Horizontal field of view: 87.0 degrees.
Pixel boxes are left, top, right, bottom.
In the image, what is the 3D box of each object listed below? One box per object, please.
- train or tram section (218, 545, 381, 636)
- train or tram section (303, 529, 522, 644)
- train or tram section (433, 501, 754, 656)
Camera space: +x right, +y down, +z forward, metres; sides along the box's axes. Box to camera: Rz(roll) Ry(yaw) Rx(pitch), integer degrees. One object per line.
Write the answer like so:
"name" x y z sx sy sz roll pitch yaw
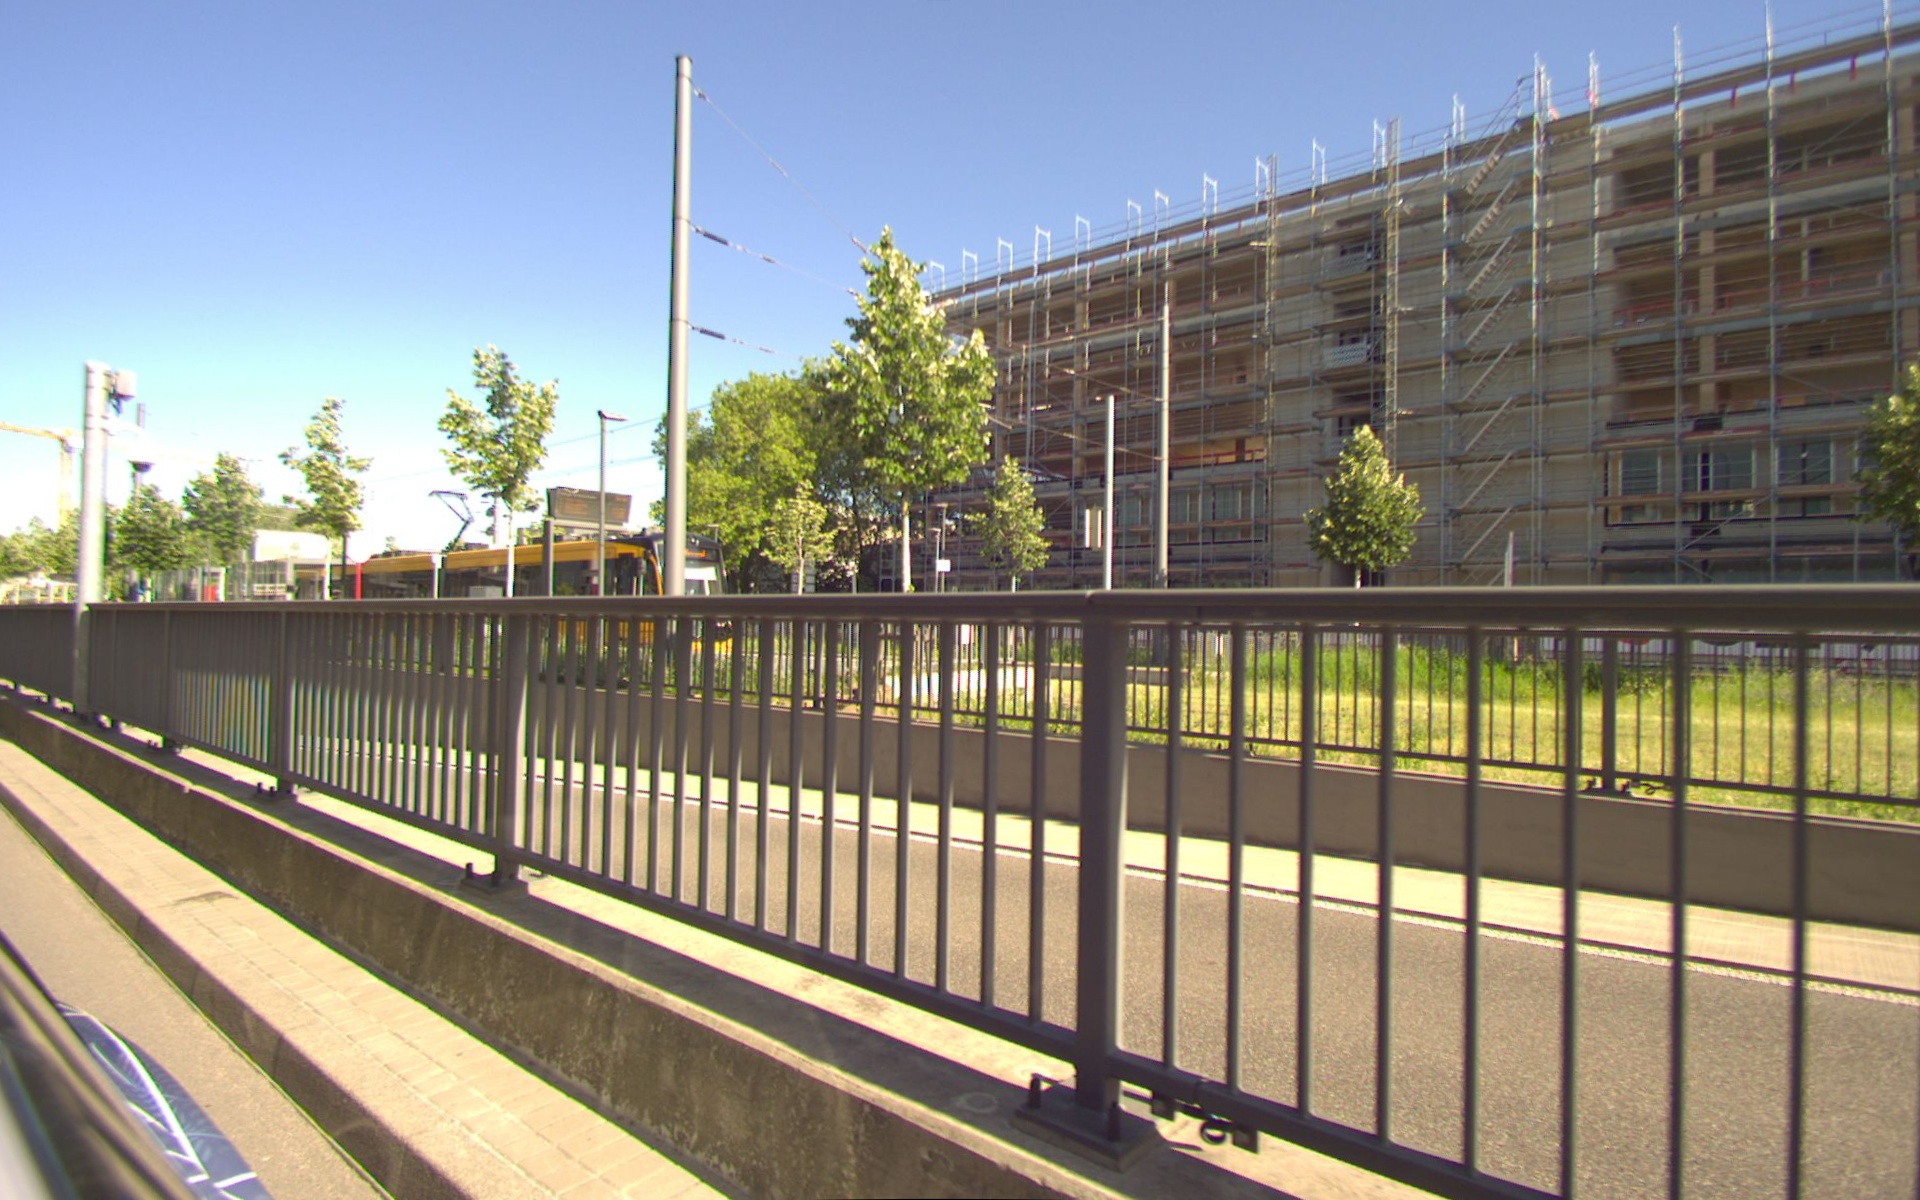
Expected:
"train or tram section" -30.289 -0.325 46.048 12.783 3.666 2.786 0 -2 41
"train or tram section" -20.658 -0.359 37.570 12.783 3.666 2.786 0 -2 41
"train or tram section" -11.042 -0.432 29.122 12.783 3.666 2.786 0 -2 41
